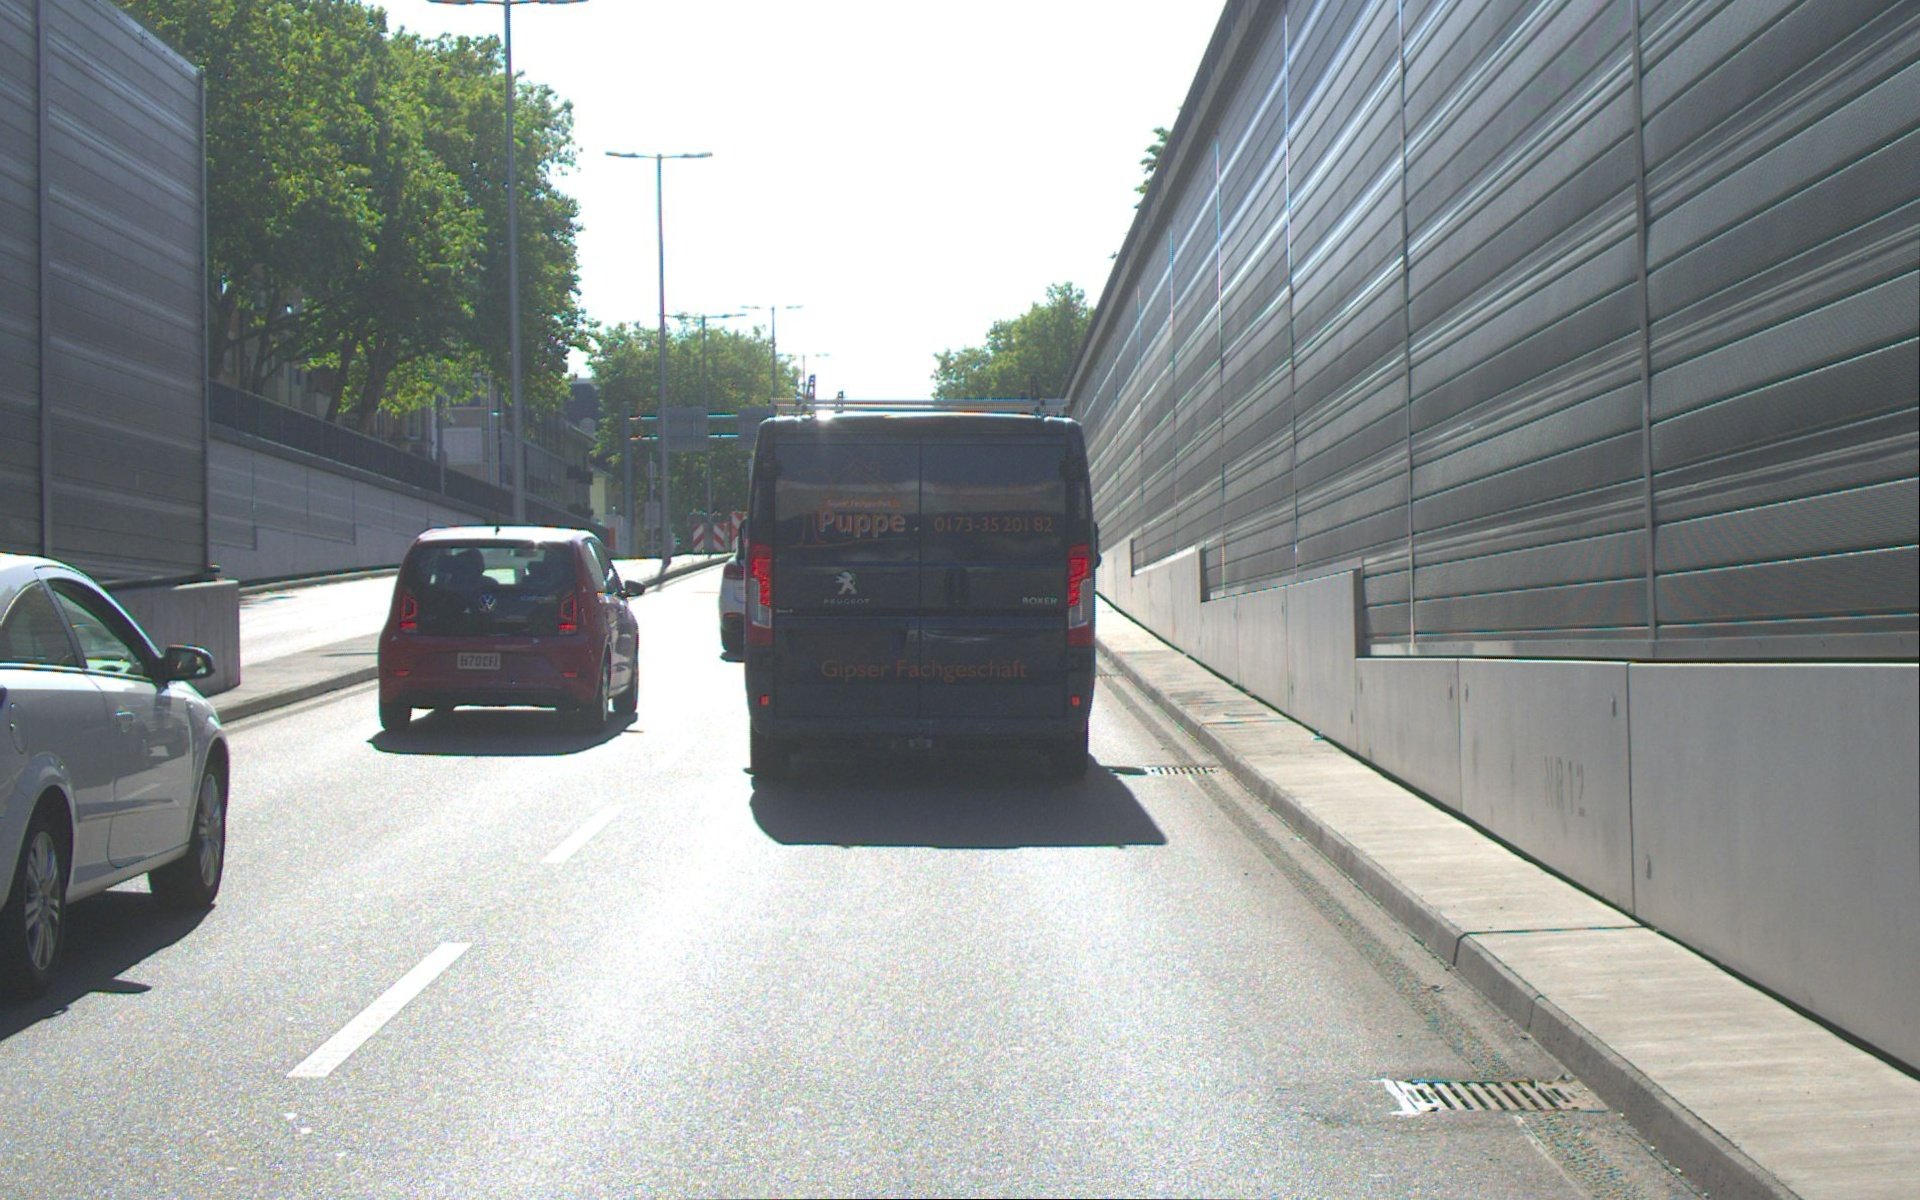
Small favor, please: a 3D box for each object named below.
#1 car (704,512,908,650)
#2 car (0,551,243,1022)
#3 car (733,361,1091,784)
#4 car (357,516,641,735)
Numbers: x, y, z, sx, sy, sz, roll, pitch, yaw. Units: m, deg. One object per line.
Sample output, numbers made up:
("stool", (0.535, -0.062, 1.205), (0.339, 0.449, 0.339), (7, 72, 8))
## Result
("car", (-1.693, -0.257, 39.068), (1.892, 1.470, 3.990), (1, 1, 4))
("car", (-3.708, 0.536, 12.016), (1.619, 1.398, 3.852), (1, 1, 0))
("car", (-0.276, -0.187, 21.510), (2.030, 2.394, 3.973), (0, 1, 0))
("car", (-3.356, 0.138, 25.522), (1.689, 1.478, 3.319), (1, 2, -1))
